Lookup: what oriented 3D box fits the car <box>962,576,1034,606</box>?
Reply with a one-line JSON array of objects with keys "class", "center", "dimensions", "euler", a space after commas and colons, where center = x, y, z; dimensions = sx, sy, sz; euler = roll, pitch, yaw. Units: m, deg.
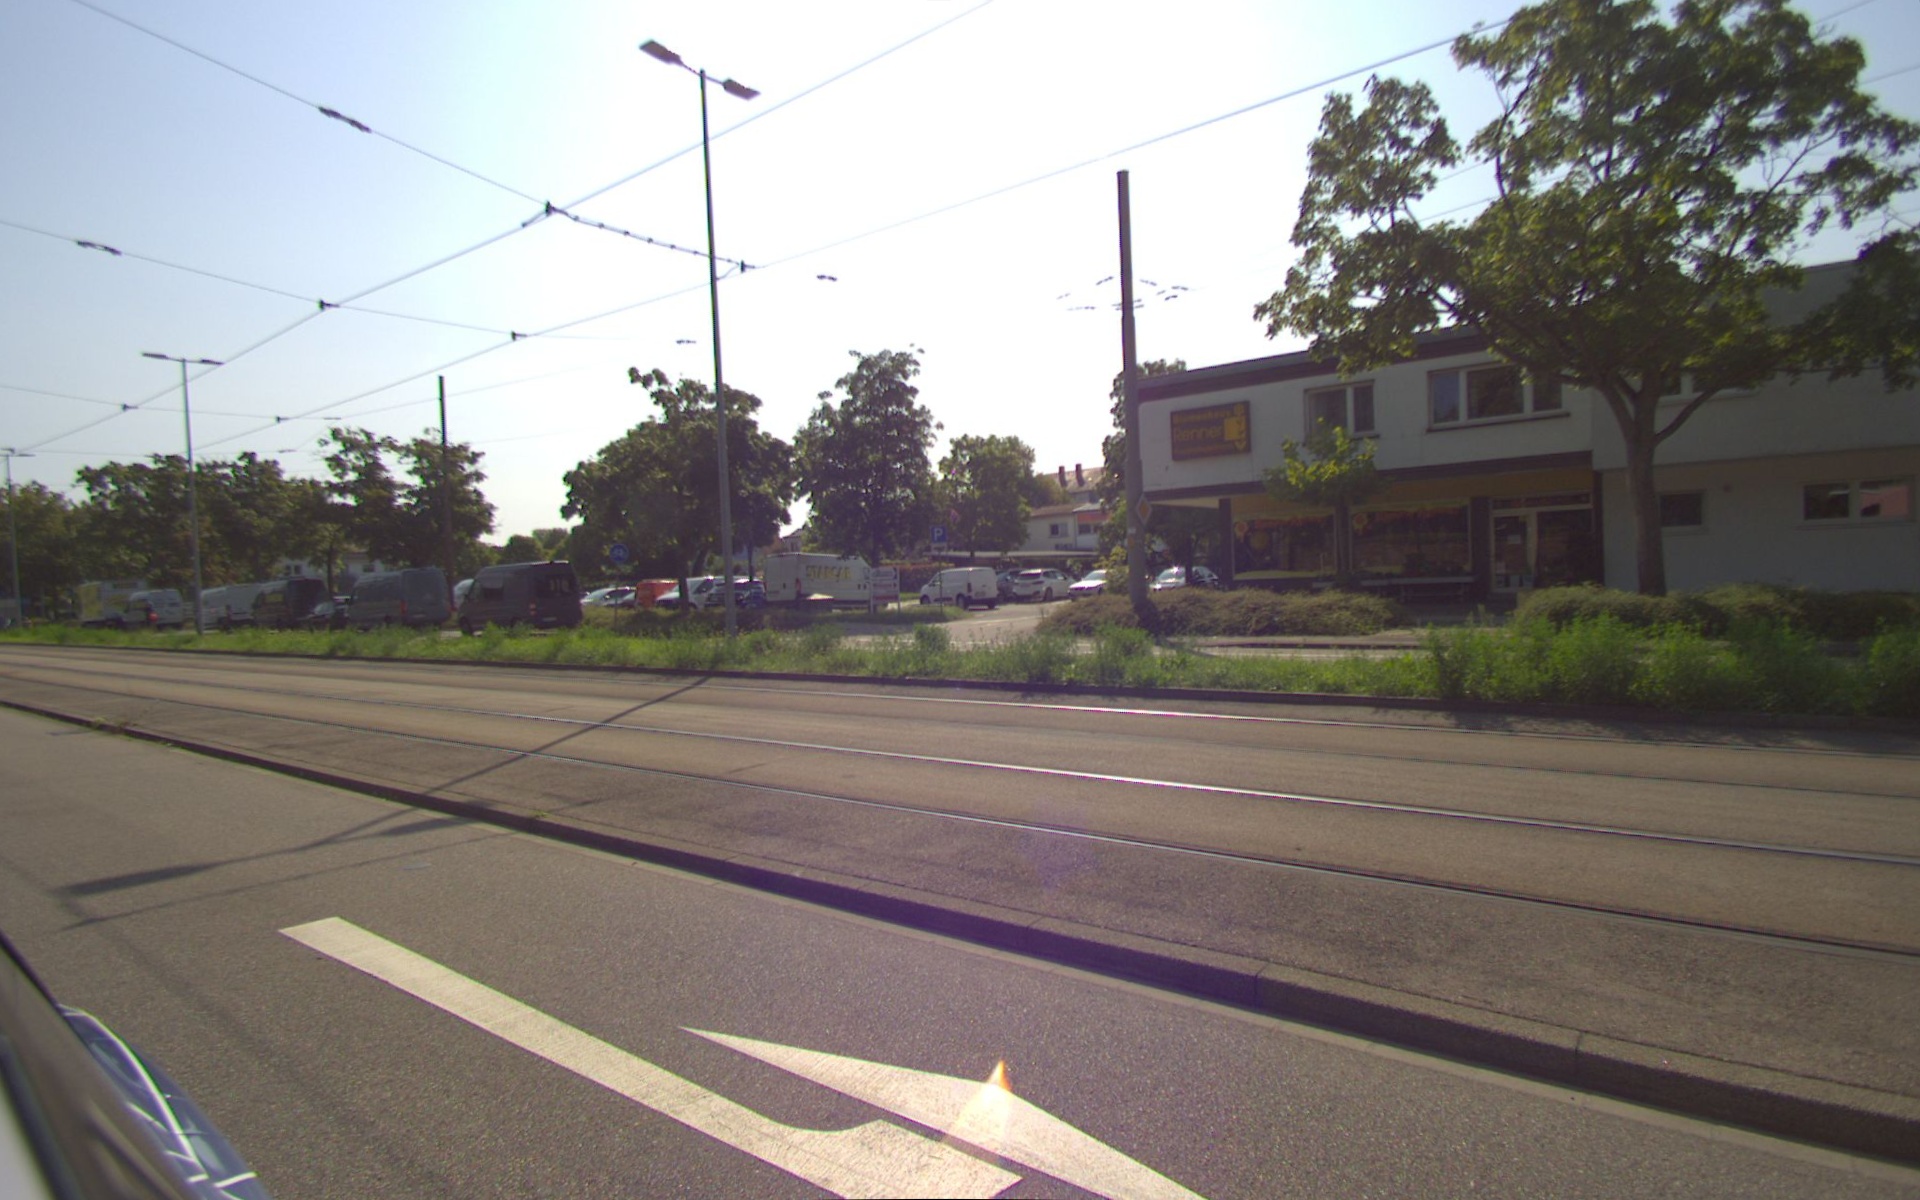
[{"class": "car", "center": [1.918, -0.446, 50.956], "dimensions": [3.664, 1.353, 1.492], "euler": [-3, 1, -45]}]

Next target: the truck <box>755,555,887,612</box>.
[{"class": "truck", "center": [-5.659, -0.652, 41.836], "dimensions": [2.255, 2.189, 5.440], "euler": [-1, 0, 36]}]

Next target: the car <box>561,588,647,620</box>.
[{"class": "car", "center": [-17.987, 0.169, 51.303], "dimensions": [1.617, 1.474, 4.130], "euler": [-2, 0, 28]}]

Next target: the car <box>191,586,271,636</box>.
[{"class": "car", "center": [-40.054, 0.608, 55.538], "dimensions": [5.624, 2.605, 2.112], "euler": [-1, 0, 39]}]

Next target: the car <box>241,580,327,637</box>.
[{"class": "car", "center": [-33.803, 0.440, 50.510], "dimensions": [5.903, 2.605, 1.805], "euler": [-2, 2, 39]}]

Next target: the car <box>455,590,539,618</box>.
[{"class": "car", "center": [-26.270, 0.220, 57.517], "dimensions": [1.854, 1.462, 3.949], "euler": [-1, 0, 38]}]

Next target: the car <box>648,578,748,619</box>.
[{"class": "car", "center": [-11.907, -0.084, 46.262], "dimensions": [1.630, 1.798, 4.359], "euler": [-1, 0, 36]}]

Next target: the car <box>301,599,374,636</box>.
[{"class": "car", "center": [-28.843, 0.817, 46.841], "dimensions": [3.831, 1.563, 1.727], "euler": [-1, 2, 41]}]

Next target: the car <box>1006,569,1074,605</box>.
[{"class": "car", "center": [3.972, -0.650, 49.813], "dimensions": [1.872, 1.513, 3.418], "euler": [-2, 3, 35]}]

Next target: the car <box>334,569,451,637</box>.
[{"class": "car", "center": [-24.037, 0.163, 42.751], "dimensions": [6.460, 2.605, 1.969], "euler": [-1, 3, 39]}]

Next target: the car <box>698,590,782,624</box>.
[{"class": "car", "center": [-9.674, 0.305, 44.662], "dimensions": [1.630, 1.437, 3.374], "euler": [-1, 0, 36]}]

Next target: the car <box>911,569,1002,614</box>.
[{"class": "car", "center": [-0.221, -0.358, 45.288], "dimensions": [1.957, 1.771, 4.432], "euler": [-4, 1, -32]}]

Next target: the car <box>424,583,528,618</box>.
[{"class": "car", "center": [-28.428, 0.011, 59.598], "dimensions": [2.049, 1.940, 5.138], "euler": [-1, 0, 36]}]

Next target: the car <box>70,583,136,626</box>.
[{"class": "car", "center": [-59.284, 0.315, 69.974], "dimensions": [7.222, 2.826, 2.104], "euler": [-1, 0, 39]}]

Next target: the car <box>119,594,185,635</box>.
[{"class": "car", "center": [-51.397, 0.945, 64.381], "dimensions": [4.823, 2.477, 2.123], "euler": [-1, 0, 37]}]

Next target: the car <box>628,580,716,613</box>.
[{"class": "car", "center": [-13.716, -0.180, 48.391], "dimensions": [1.630, 1.530, 3.888], "euler": [-1, 0, 36]}]

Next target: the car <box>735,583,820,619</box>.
[{"class": "car", "center": [-7.724, 0.036, 43.081], "dimensions": [1.630, 1.437, 3.374], "euler": [-1, 0, 36]}]

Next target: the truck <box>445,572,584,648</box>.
[{"class": "truck", "center": [-16.190, 0.364, 36.634], "dimensions": [5.730, 2.567, 2.061], "euler": [-1, 0, 38]}]

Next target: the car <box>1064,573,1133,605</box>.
[{"class": "car", "center": [6.548, -0.547, 47.659], "dimensions": [1.490, 1.353, 3.494], "euler": [-2, 1, 42]}]

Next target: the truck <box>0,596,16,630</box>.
[{"class": "truck", "center": [-92.732, 1.289, 97.055], "dimensions": [8.781, 3.145, 2.250], "euler": [-1, 0, 41]}]
